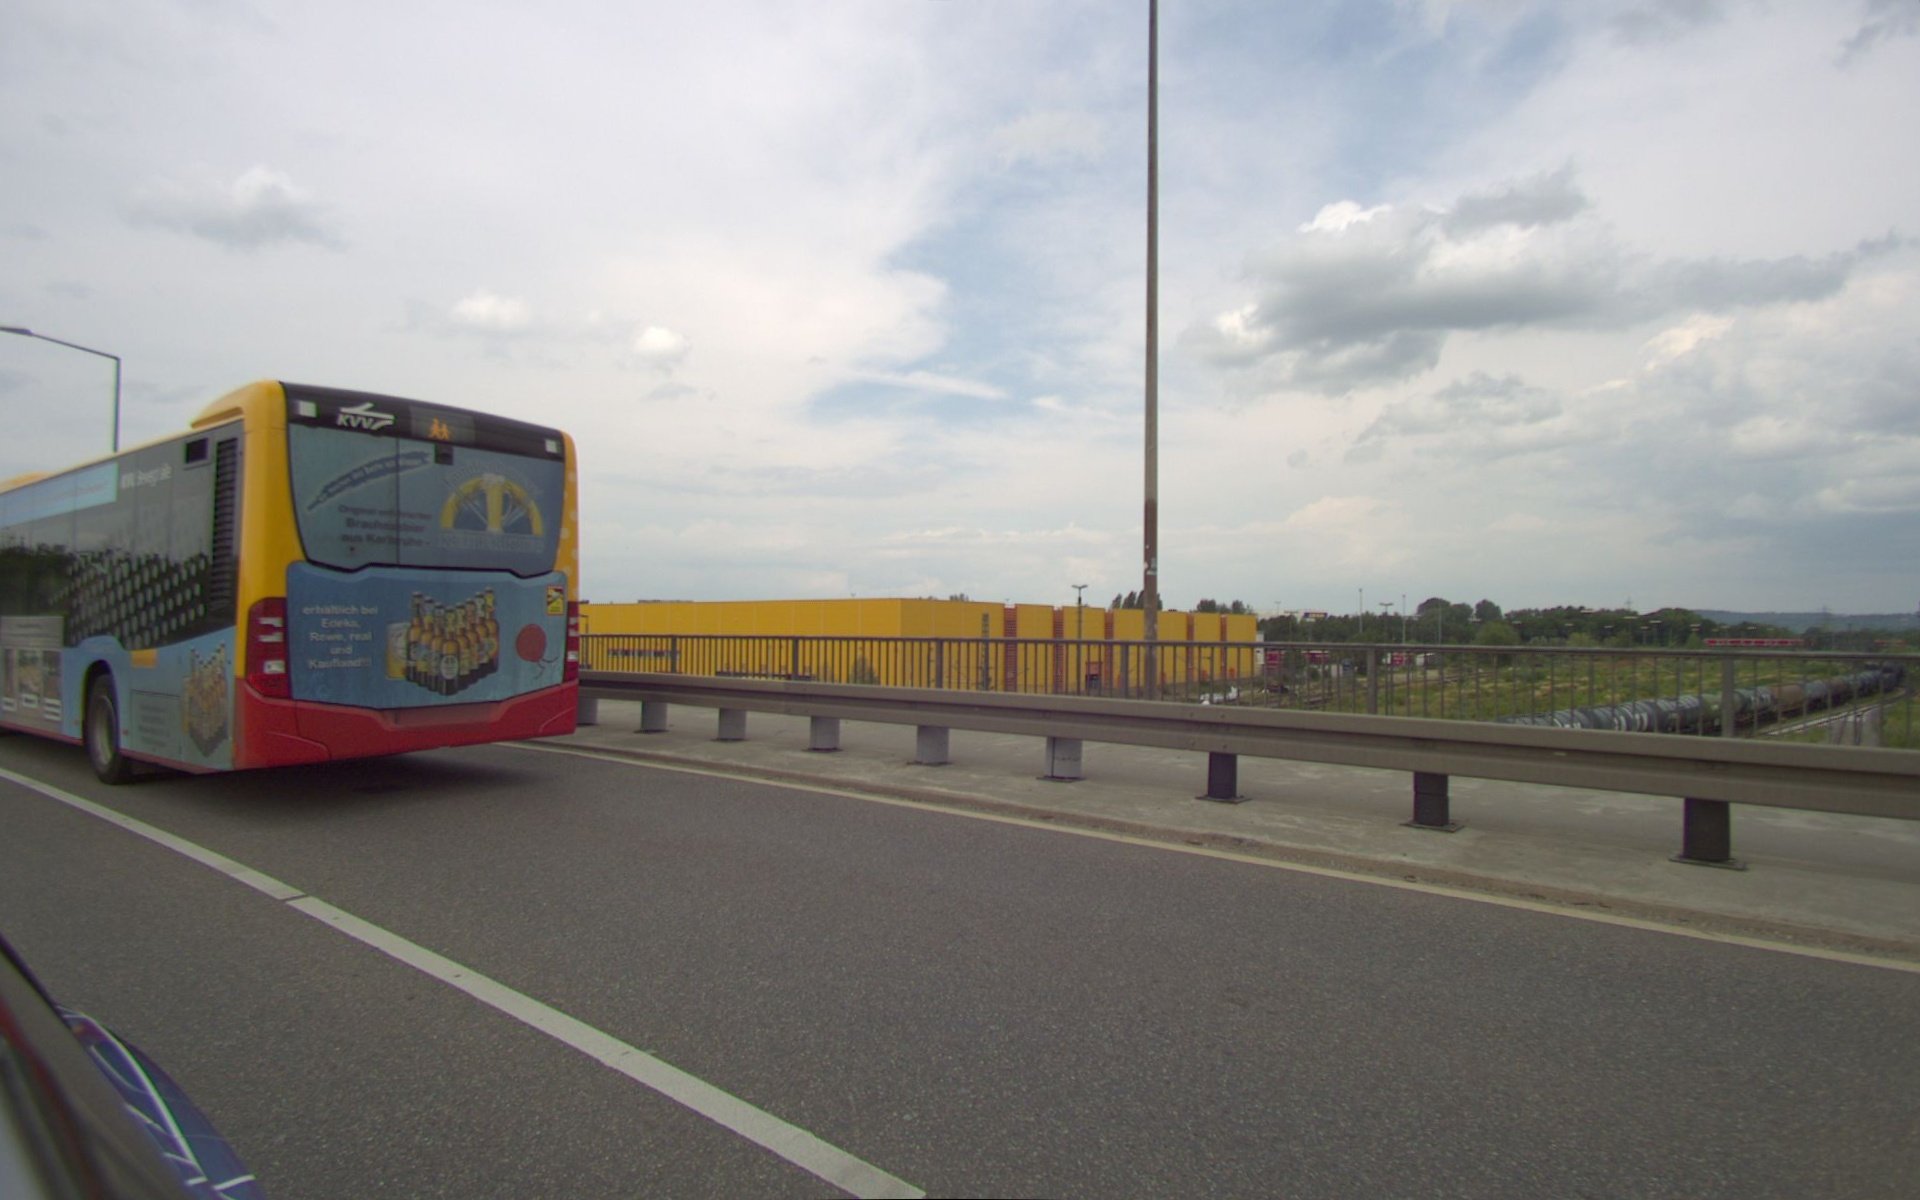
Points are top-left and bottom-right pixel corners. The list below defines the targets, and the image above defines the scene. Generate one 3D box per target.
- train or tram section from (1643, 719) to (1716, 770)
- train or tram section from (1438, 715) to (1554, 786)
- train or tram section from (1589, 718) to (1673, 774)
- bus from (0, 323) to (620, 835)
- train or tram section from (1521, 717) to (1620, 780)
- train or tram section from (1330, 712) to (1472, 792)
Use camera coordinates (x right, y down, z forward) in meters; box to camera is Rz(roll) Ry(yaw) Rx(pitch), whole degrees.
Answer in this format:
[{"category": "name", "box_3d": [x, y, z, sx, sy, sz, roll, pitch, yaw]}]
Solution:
[{"category": "train or tram section", "box_3d": [64.517, 12.790, 90.546, 12.559, 4.126, 2.086, 6, -4, -39]}, {"category": "train or tram section", "box_3d": [35.484, 9.776, 66.645, 12.559, 4.126, 2.004, 6, -4, -39]}, {"category": "train or tram section", "box_3d": [54.874, 11.816, 82.551, 12.559, 4.126, 2.086, 6, -4, -39]}, {"category": "bus", "box_3d": [-9.057, -0.056, 11.522, 12.927, 3.258, 3.004, -1, 0, 37]}, {"category": "train or tram section", "box_3d": [45.182, 10.842, 74.621, 12.559, 4.126, 2.103, 6, -4, -39]}, {"category": "train or tram section", "box_3d": [25.826, 8.714, 58.728, 12.560, 4.126, 2.004, 6, -5, -39]}]
